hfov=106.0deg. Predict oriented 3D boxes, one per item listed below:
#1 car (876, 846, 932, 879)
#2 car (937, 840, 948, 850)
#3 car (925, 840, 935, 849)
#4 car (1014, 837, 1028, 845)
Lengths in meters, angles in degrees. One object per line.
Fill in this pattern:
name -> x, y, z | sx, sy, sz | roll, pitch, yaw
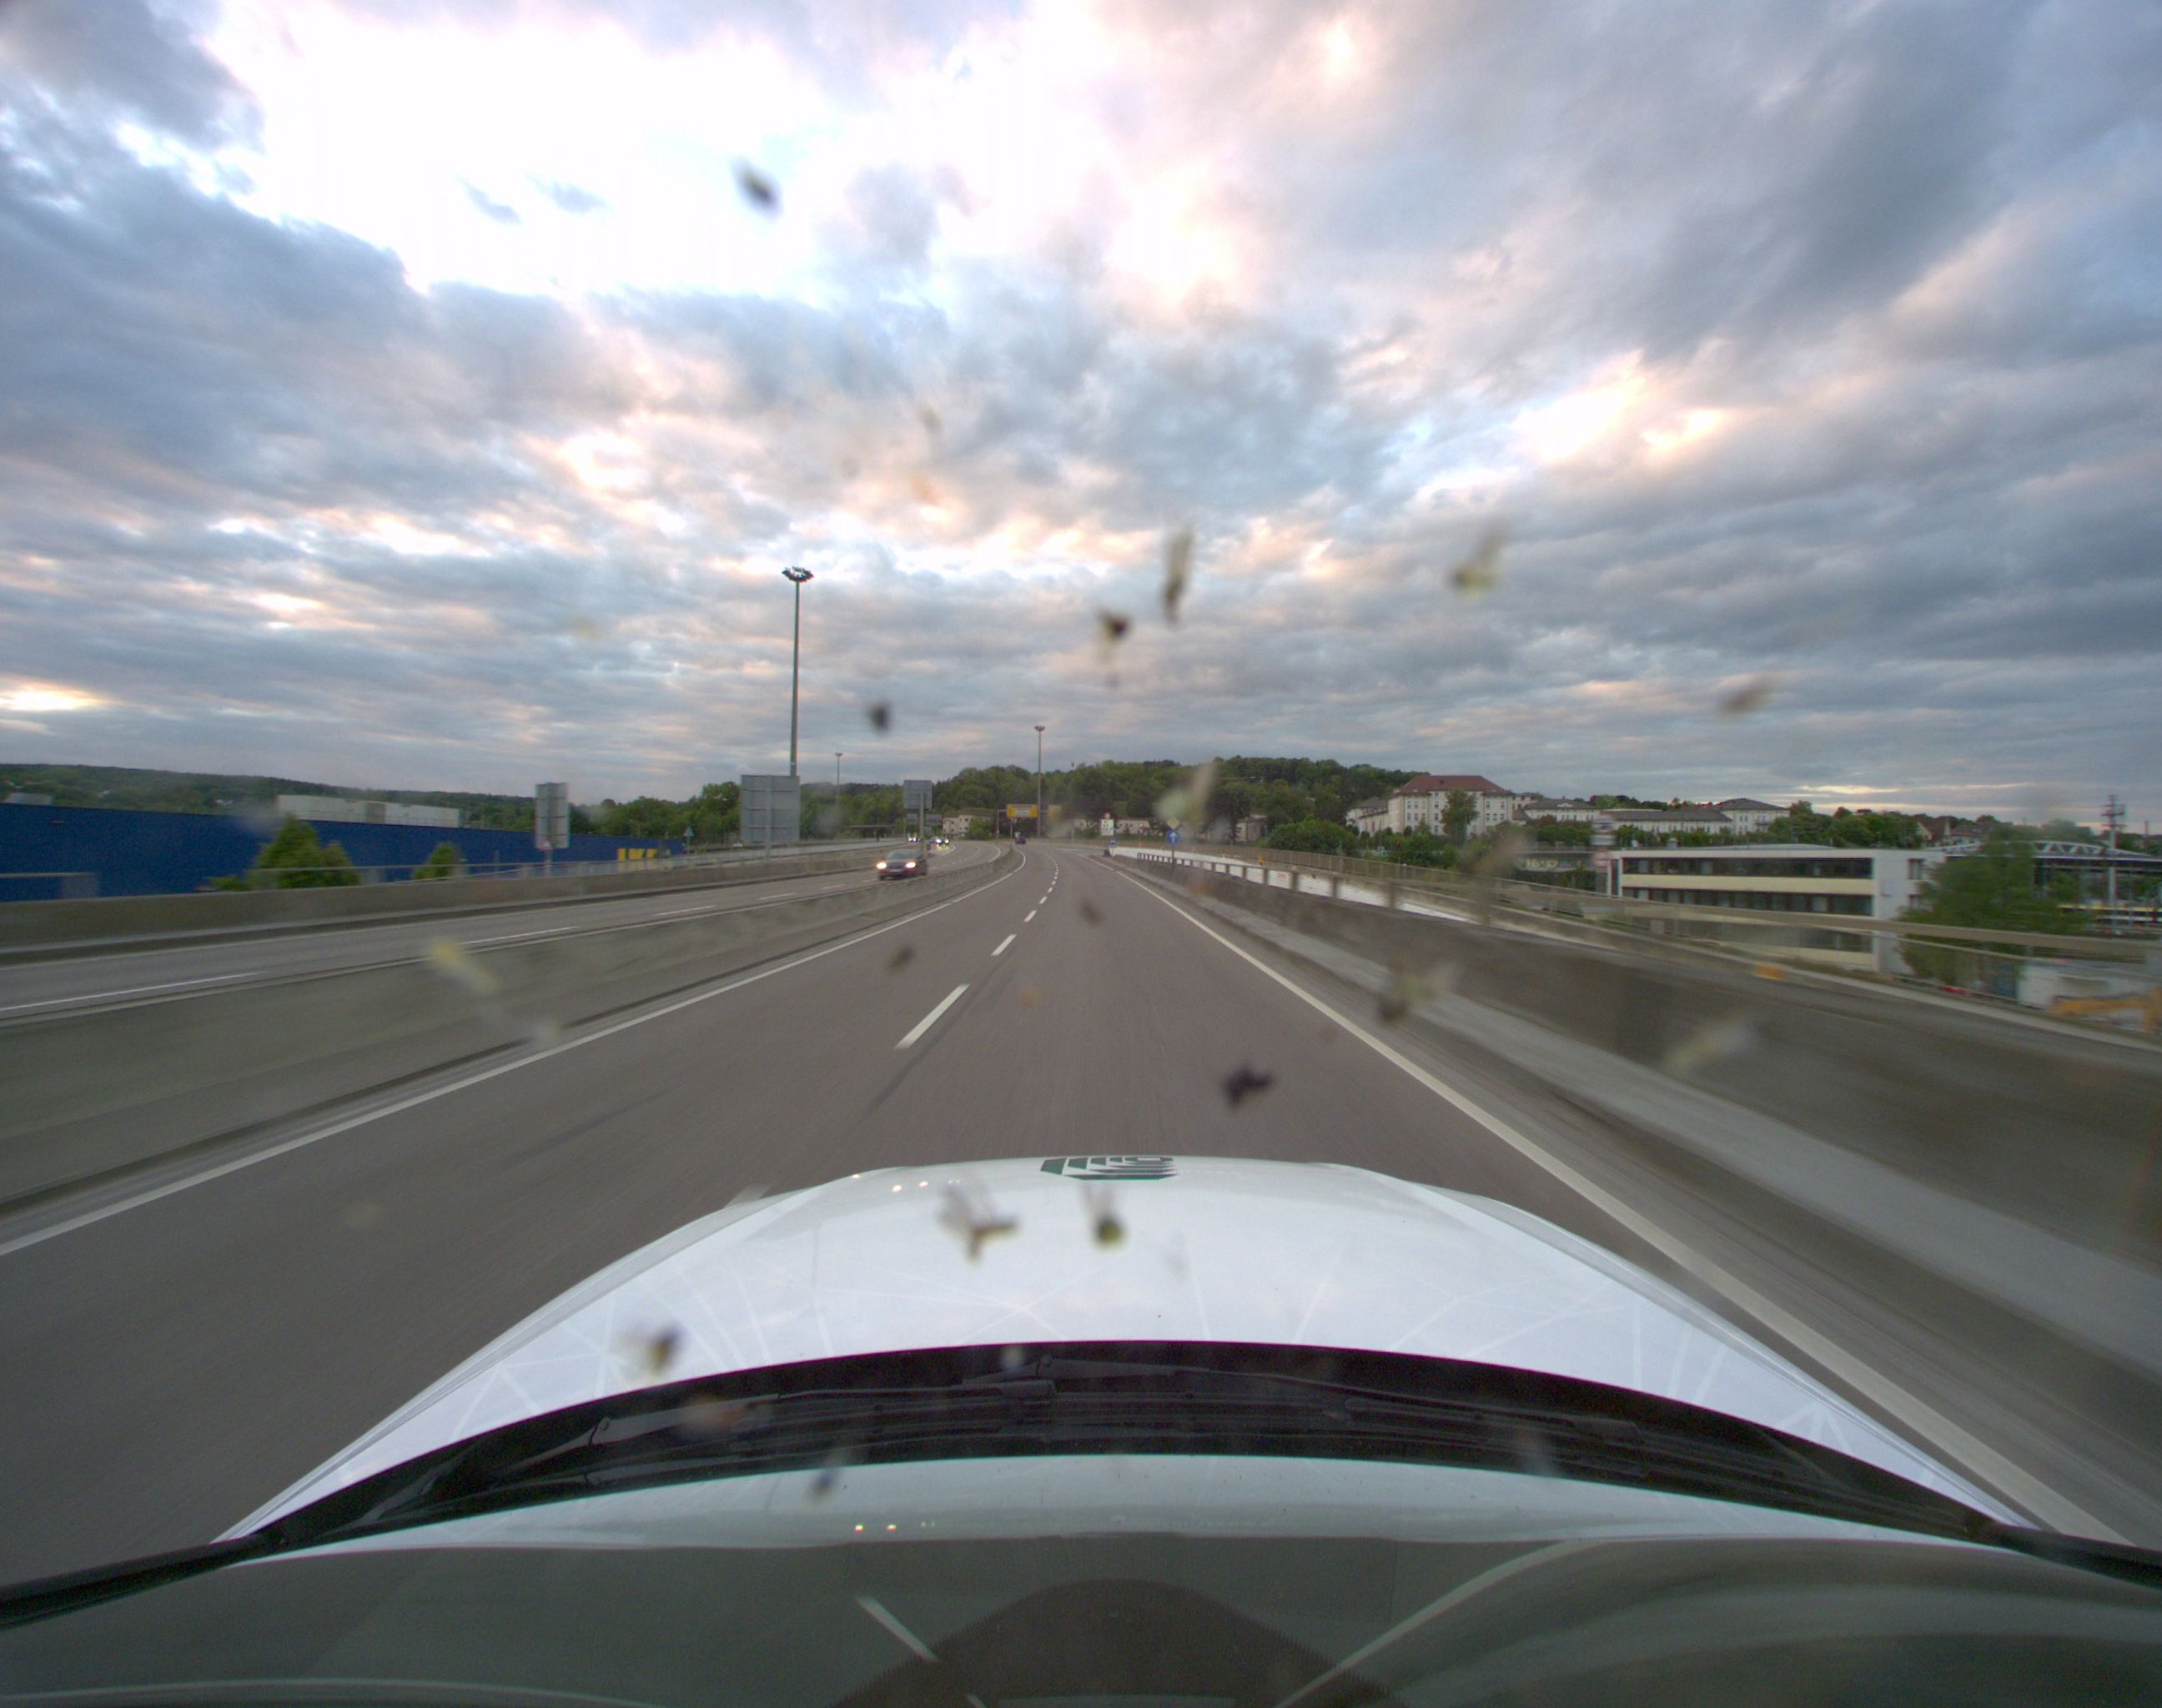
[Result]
car -> -8.368, 0.394, 38.882 | 1.824, 1.480, 4.284 | 0, 0, -2
car -> -26.841, -1.780, 157.682 | 1.634, 1.717, 3.994 | -5, 1, -5
car -> -36.664, -2.382, 197.780 | 1.993, 2.013, 3.988 | 6, 1, -10
car -> -13.228, -2.901, 179.893 | 2.308, 1.763, 4.242 | 1, 1, -14
